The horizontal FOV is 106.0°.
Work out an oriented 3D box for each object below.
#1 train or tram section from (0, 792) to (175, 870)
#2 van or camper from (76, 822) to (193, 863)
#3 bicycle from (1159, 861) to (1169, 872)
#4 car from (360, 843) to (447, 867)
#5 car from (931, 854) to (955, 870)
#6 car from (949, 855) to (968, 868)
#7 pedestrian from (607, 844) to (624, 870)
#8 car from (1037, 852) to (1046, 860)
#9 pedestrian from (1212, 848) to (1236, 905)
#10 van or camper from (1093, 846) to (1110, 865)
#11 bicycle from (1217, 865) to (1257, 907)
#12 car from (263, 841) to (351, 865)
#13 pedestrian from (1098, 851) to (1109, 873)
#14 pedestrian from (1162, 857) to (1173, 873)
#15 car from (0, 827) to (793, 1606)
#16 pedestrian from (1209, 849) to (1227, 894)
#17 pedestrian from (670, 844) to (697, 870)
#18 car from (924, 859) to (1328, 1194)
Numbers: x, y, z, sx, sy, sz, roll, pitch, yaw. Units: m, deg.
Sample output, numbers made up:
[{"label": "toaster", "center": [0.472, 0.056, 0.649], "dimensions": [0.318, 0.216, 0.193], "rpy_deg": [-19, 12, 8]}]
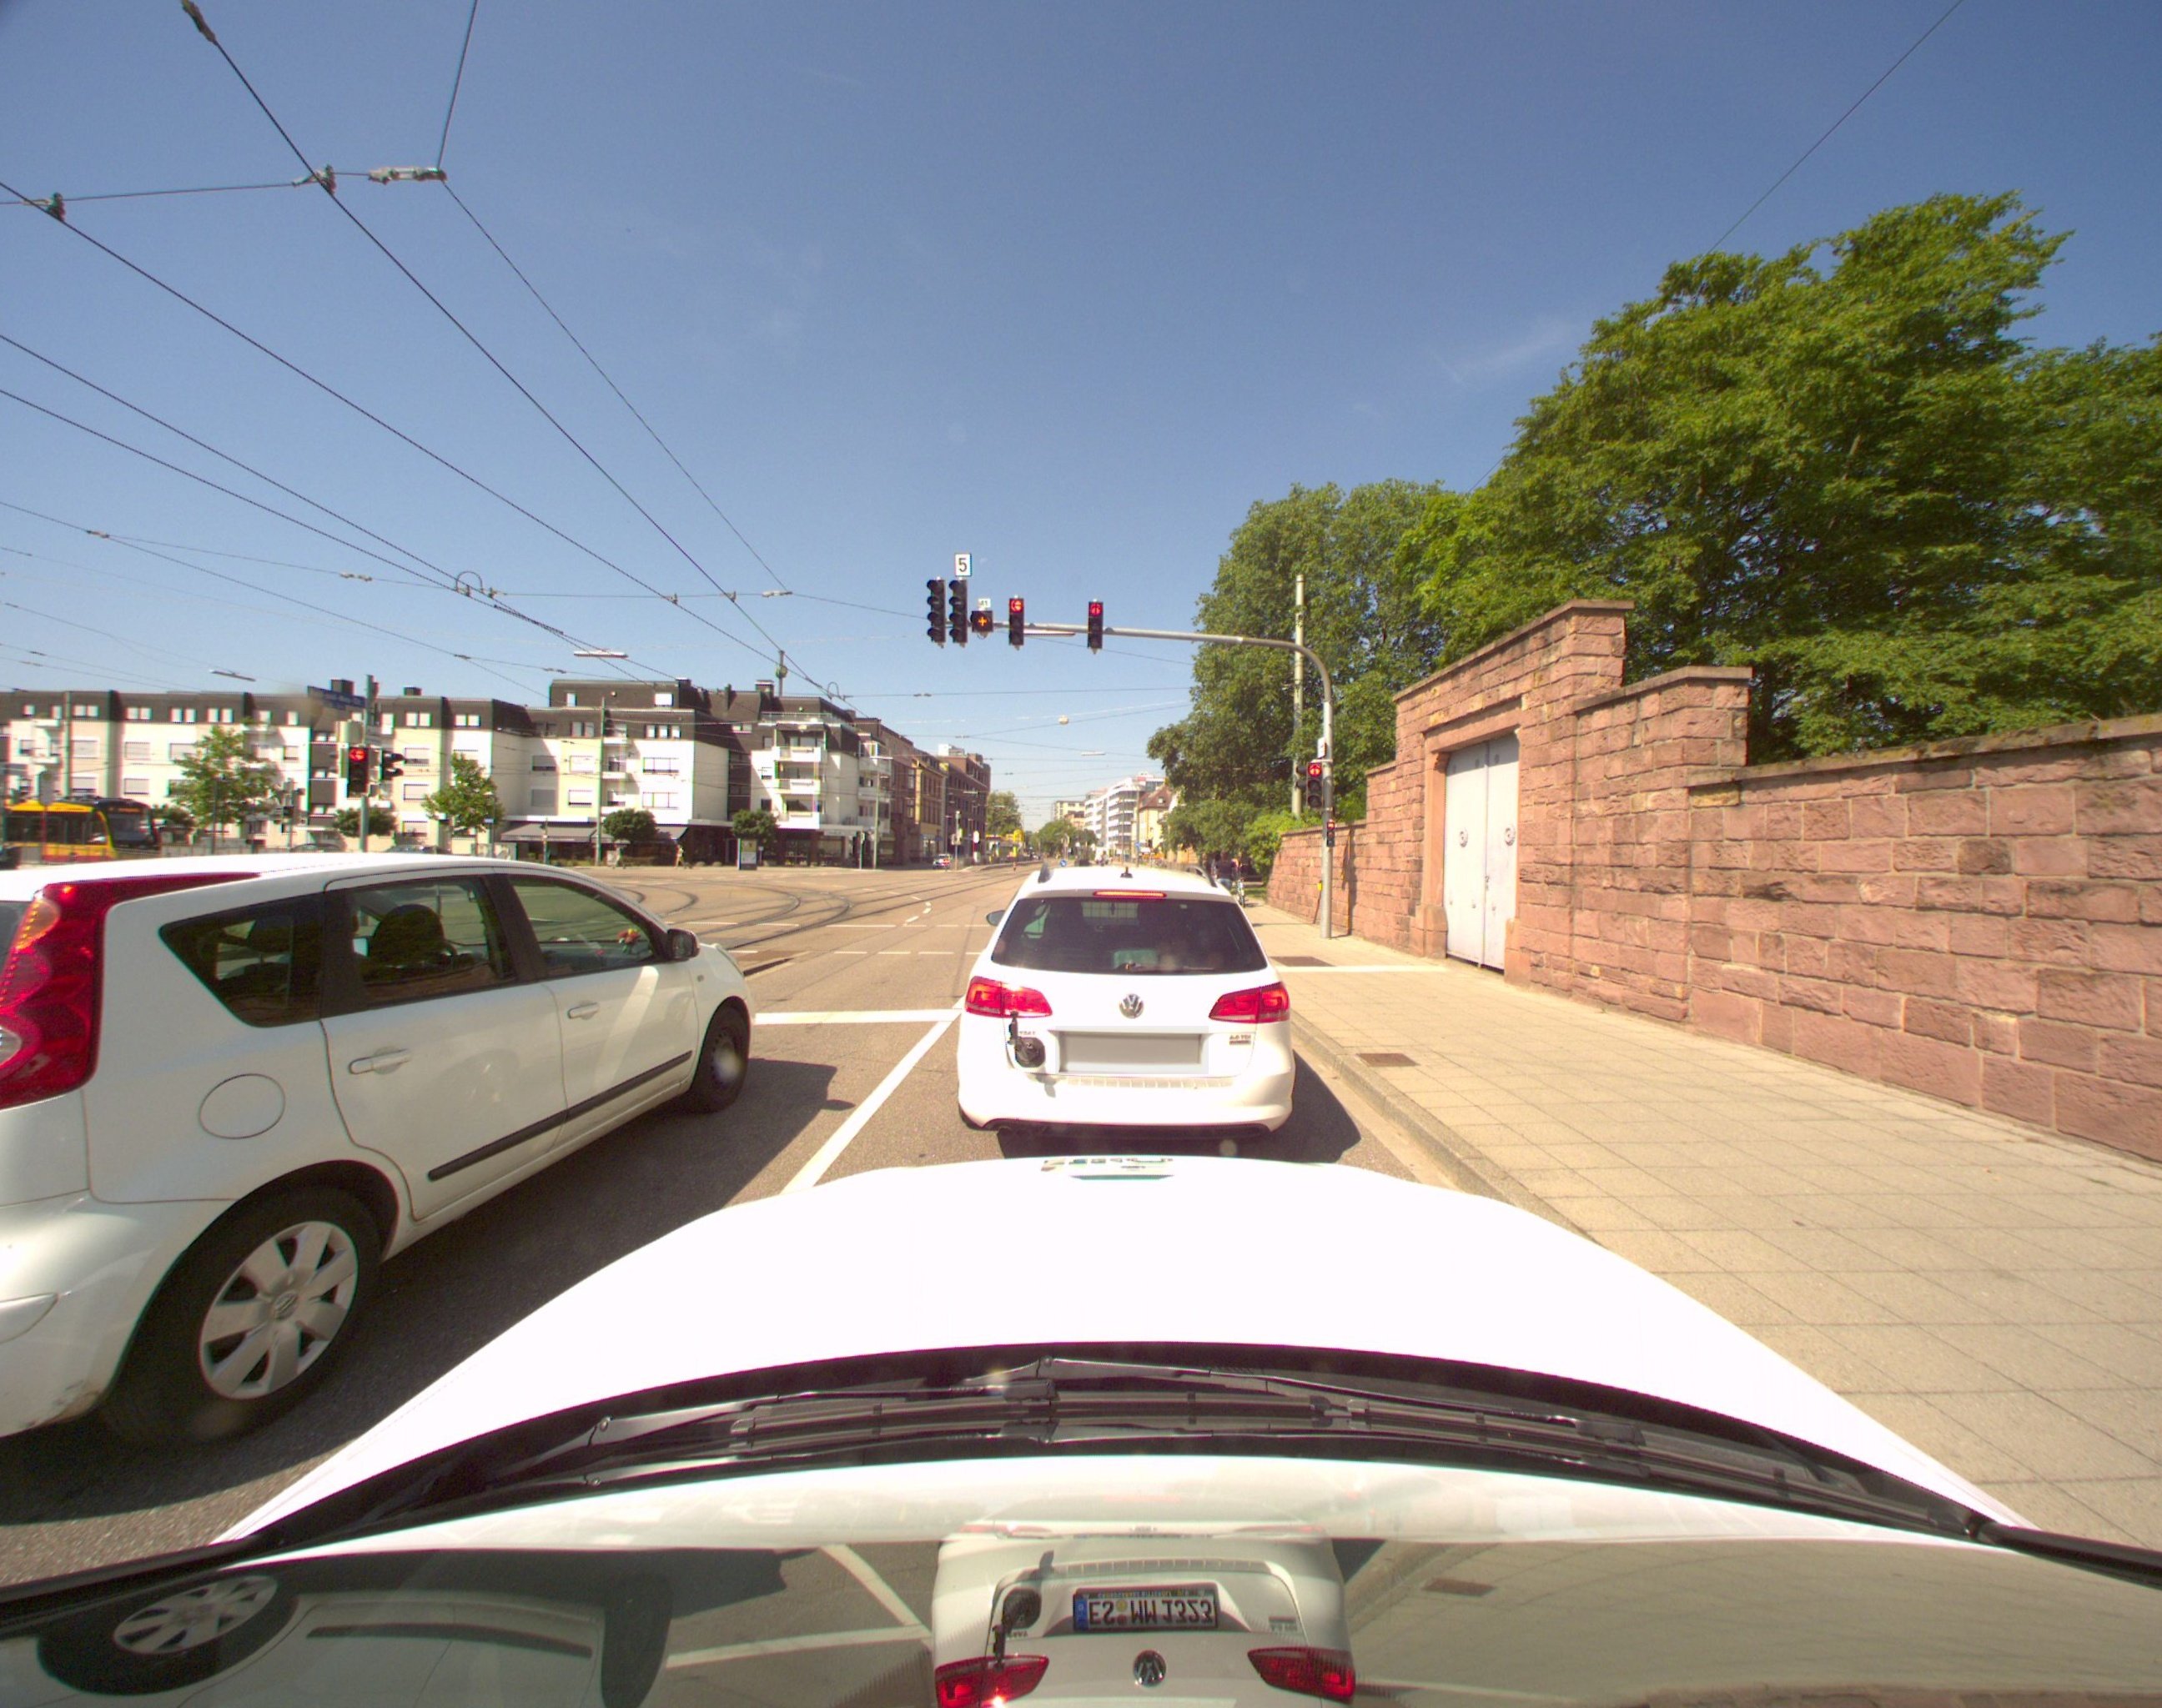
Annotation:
[{"label": "train or tram section", "center": [-53.601, -1.166, 40.589], "dimensions": [13.814, 3.658, 2.769], "rpy_deg": [1, 0, 1]}, {"label": "van or camper", "center": [-62.658, -0.751, 54.002], "dimensions": [4.859, 2.624, 2.376], "rpy_deg": [1, 0, 0]}, {"label": "bicycle", "center": [9.223, 1.407, 90.369], "dimensions": [0.720, 1.139, 2.203], "rpy_deg": [1, 0, 14]}, {"label": "car", "center": [-44.940, 0.069, 54.080], "dimensions": [4.158, 1.500, 1.828], "rpy_deg": [1, 0, 0]}, {"label": "car", "center": [-13.688, 0.787, 80.869], "dimensions": [1.620, 1.431, 3.962], "rpy_deg": [2, 0, 0]}, {"label": "car", "center": [-13.389, 0.816, 89.349], "dimensions": [1.568, 1.459, 3.811], "rpy_deg": [1, 0, -2]}, {"label": "pedestrian", "center": [-32.214, 0.210, 56.390], "dimensions": [0.754, 1.760, 0.816], "rpy_deg": [0, -1, 45]}, {"label": "car", "center": [-10.691, 0.550, 220.441], "dimensions": [1.987, 2.014, 3.999], "rpy_deg": [0, -1, 0]}, {"label": "pedestrian", "center": [3.956, 0.623, 22.549], "dimensions": [0.538, 1.549, 0.663], "rpy_deg": [-1, 0, 1]}, {"label": "van or camper", "center": [3.664, 0.249, 142.629], "dimensions": [2.932, 3.180, 6.616], "rpy_deg": [1, 0, 2]}, {"label": "bicycle", "center": [4.280, 0.854, 22.489], "dimensions": [0.535, 1.111, 1.802], "rpy_deg": [0, -1, -8]}, {"label": "car", "center": [-51.207, -0.078, 53.927], "dimensions": [3.973, 1.500, 1.828], "rpy_deg": [1, 0, 0]}, {"label": "pedestrian", "center": [1.959, 0.695, 70.375], "dimensions": [0.826, 1.809, 0.831], "rpy_deg": [1, 0, 8]}, {"label": "pedestrian", "center": [8.068, 1.001, 76.186], "dimensions": [0.849, 1.510, 0.785], "rpy_deg": [1, 0, 17]}, {"label": "car", "center": [-2.962, 0.736, 3.684], "dimensions": [1.759, 1.561, 4.068], "rpy_deg": [0, 0, 2]}, {"label": "pedestrian", "center": [5.199, 0.656, 30.876], "dimensions": [0.646, 1.682, 0.709], "rpy_deg": [1, 0, 7]}, {"label": "pedestrian", "center": [-28.804, 0.218, 59.007], "dimensions": [1.109, 1.836, 1.447], "rpy_deg": [0, 0, 44]}, {"label": "car", "center": [0.260, 0.763, 5.489], "dimensions": [1.746, 1.418, 3.854], "rpy_deg": [1, 0, 2]}]
